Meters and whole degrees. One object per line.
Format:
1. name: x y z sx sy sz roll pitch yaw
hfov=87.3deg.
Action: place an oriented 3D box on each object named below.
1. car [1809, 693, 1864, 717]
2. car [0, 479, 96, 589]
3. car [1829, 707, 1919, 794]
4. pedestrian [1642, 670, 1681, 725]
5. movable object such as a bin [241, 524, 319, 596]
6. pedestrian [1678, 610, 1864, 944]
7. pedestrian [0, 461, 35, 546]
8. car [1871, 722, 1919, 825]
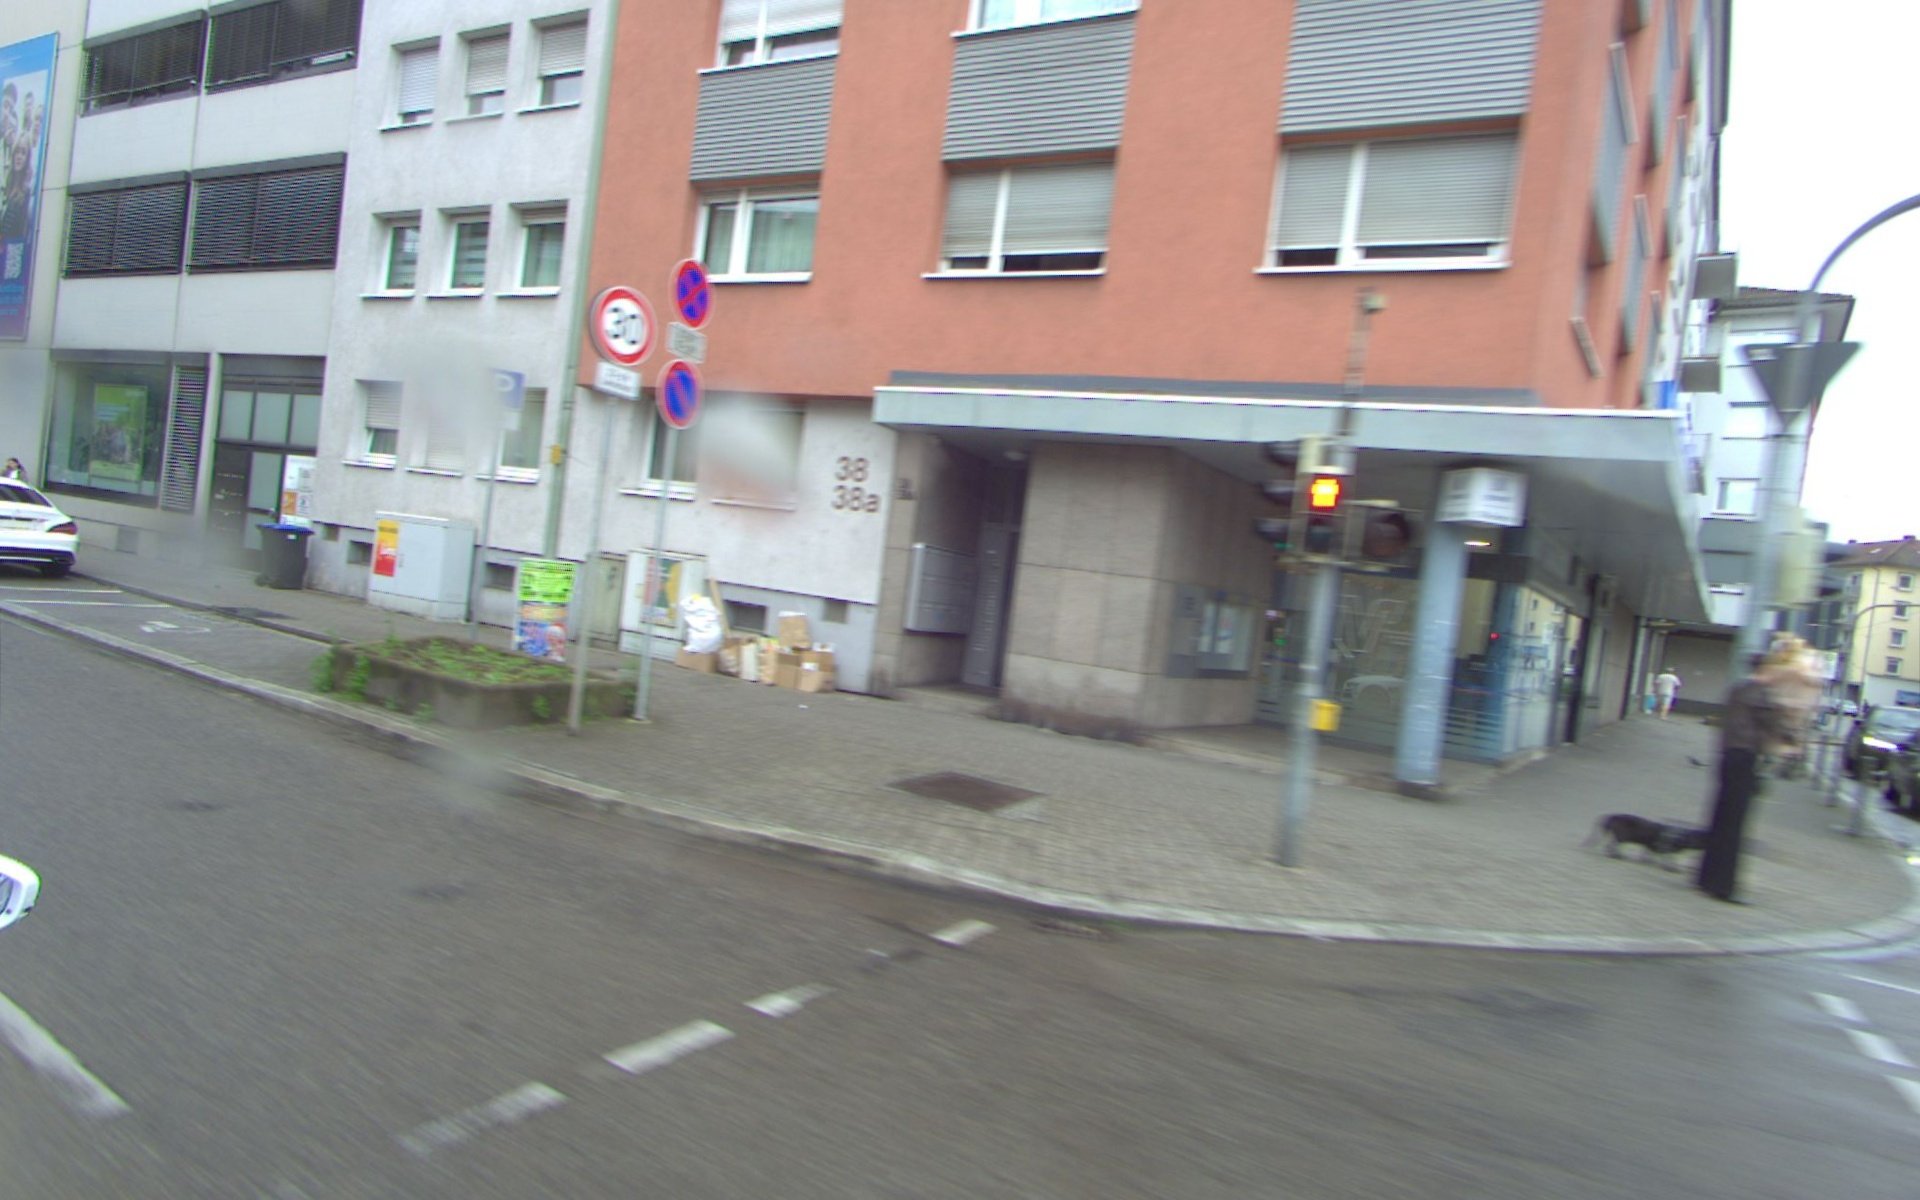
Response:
1. car: 85.306 10.183 97.976 1.891 1.726 3.966 8 -1 6
2. car: -15.188 -1.155 15.152 4.500 1.420 1.776 8 3 28
3. car: 21.129 3.369 22.812 1.730 1.562 4.235 8 1 38
4. pedestrian: 22.865 3.184 32.792 0.813 1.631 1.010 8 0 38
5. movable object such as a bin: -11.518 -0.672 17.047 0.770 1.082 0.714 8 2 24
6. pedestrian: 5.864 1.239 7.335 0.758 2.184 0.825 8 0 37
7. pedestrian: -20.587 -2.099 21.736 0.669 1.761 0.613 7 3 24
8. car: 16.687 2.952 16.749 1.642 1.443 4.367 8 1 36
